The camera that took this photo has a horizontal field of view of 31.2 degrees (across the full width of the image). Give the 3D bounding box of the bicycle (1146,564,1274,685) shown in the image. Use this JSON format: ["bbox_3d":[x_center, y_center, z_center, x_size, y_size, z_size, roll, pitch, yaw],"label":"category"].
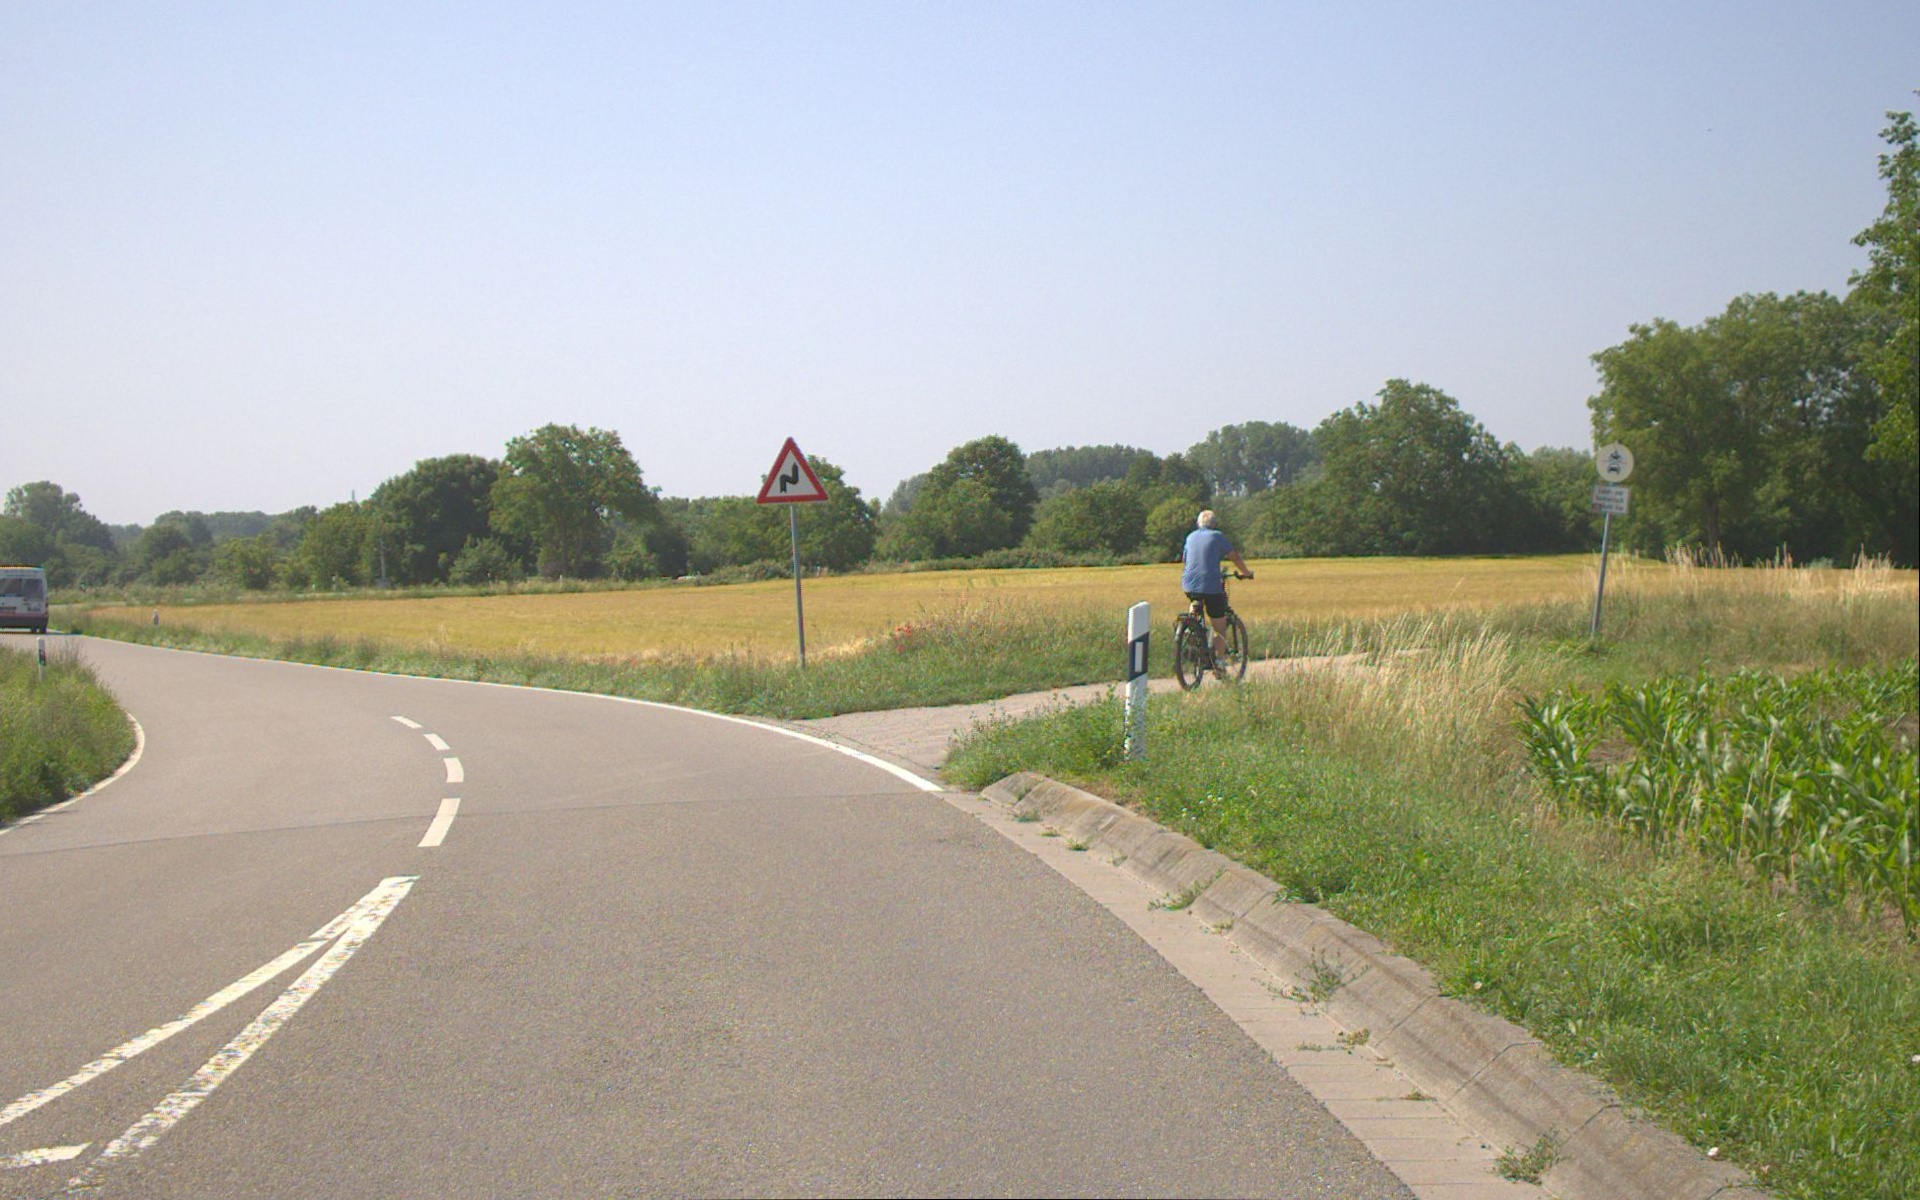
[{"bbox_3d":[2.462,0.229,33.687,0.521,1.112,1.766,-2,1,29],"label":"bicycle"}]

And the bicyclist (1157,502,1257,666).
[{"bbox_3d":[2.419,-0.159,33.630,0.673,1.568,0.734,-2,0,29],"label":"bicyclist"}]

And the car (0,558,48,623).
[{"bbox_3d":[-35.800,-0.363,129.874,2.103,2.359,5.688,-2,1,-19],"label":"car"}]
